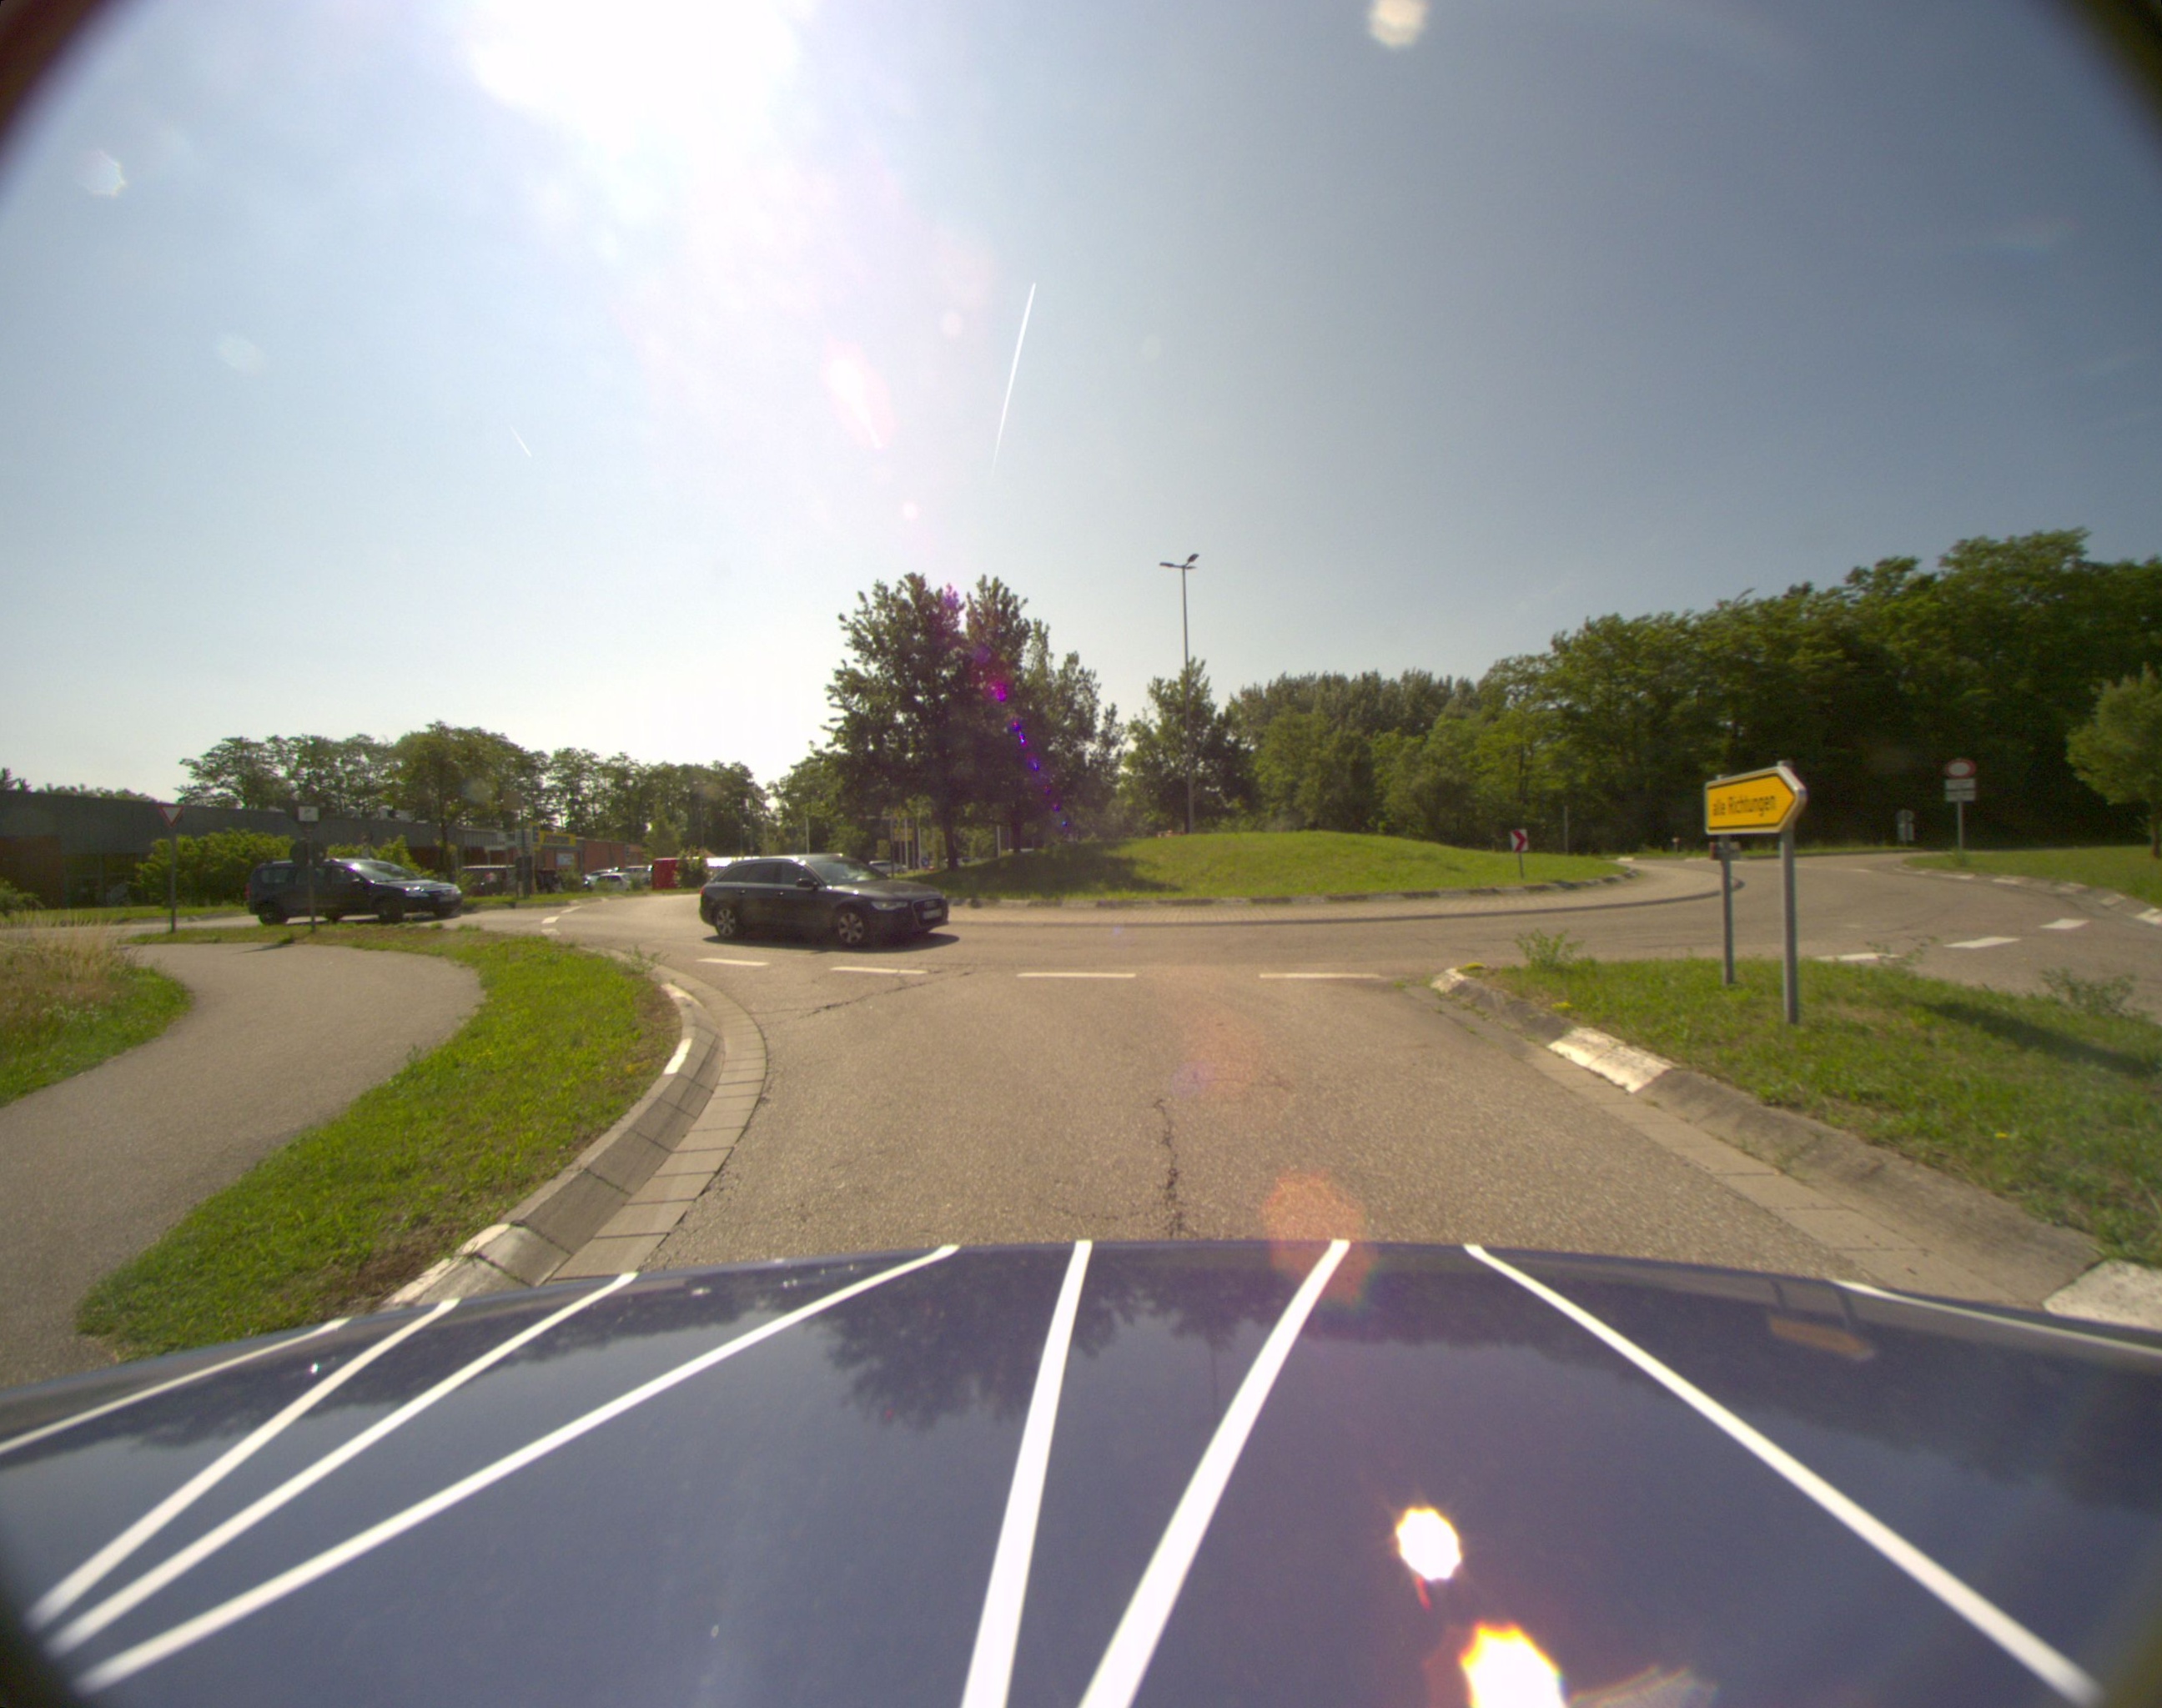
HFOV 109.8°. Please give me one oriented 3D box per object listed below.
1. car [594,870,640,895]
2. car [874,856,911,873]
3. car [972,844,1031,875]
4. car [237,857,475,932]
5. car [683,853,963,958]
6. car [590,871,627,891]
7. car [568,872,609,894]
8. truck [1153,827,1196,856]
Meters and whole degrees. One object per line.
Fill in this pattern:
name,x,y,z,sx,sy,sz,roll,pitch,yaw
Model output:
car,-26.684,1.602,43.789,1.453,1.281,2.827,-2,1,-15
car,-21.618,1.206,87.002,4.003,1.784,1.608,-2,1,-18
car,-6.961,0.451,67.017,4.841,2.517,1.856,-2,1,5
car,-18.484,1.007,19.509,4.348,1.648,1.706,-1,5,1
car,-4.551,0.805,13.301,4.667,1.481,1.817,-1,3,27
car,-34.117,1.917,54.925,1.453,1.281,2.827,-2,1,-15
car,-32.752,1.913,50.602,1.453,1.281,2.827,-2,1,-15
truck,9.990,-1.344,80.375,2.476,2.815,9.068,-2,1,20
